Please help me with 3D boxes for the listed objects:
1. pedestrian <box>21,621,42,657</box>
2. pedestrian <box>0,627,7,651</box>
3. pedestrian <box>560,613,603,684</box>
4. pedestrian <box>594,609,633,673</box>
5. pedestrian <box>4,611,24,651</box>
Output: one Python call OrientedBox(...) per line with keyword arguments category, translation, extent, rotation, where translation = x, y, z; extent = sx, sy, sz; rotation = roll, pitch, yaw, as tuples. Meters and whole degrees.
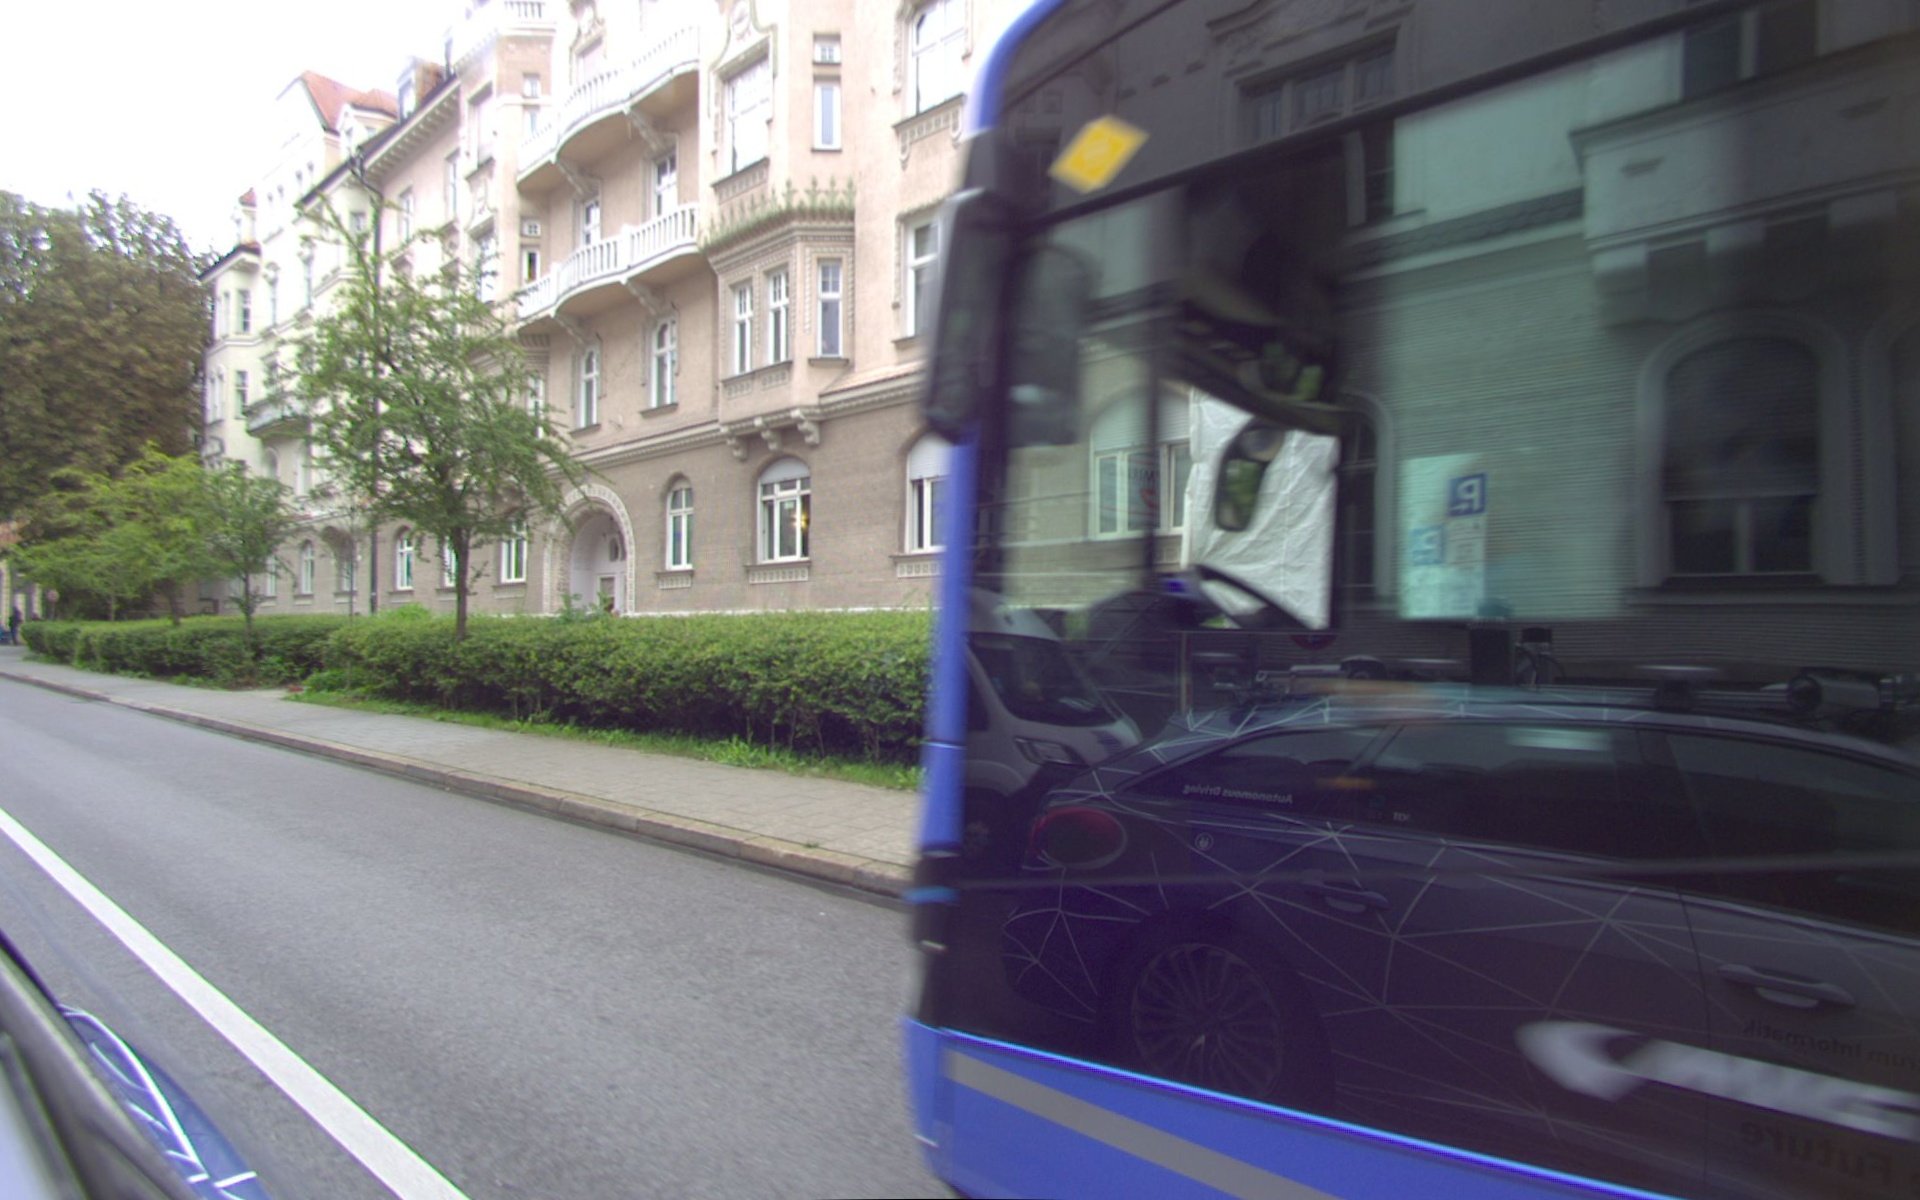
OrientedBox(category="pedestrian", translation=(-42.480, 1.776, 46.301), extent=(0.661, 1.633, 0.617), rotation=(-1, -2, 40))
OrientedBox(category="pedestrian", translation=(-49.474, 2.009, 52.088), extent=(0.577, 1.253, 0.539), rotation=(-1, -2, 40))
OrientedBox(category="pedestrian", translation=(-8.794, 1.124, 23.512), extent=(0.718, 1.623, 0.605), rotation=(-1, -2, 28))
OrientedBox(category="pedestrian", translation=(-8.909, 1.057, 26.053), extent=(0.718, 1.623, 0.605), rotation=(-1, -2, 28))
OrientedBox(category="pedestrian", translation=(-47.071, 1.532, 50.350), extent=(0.661, 1.971, 0.617), rotation=(-1, -2, 40))
